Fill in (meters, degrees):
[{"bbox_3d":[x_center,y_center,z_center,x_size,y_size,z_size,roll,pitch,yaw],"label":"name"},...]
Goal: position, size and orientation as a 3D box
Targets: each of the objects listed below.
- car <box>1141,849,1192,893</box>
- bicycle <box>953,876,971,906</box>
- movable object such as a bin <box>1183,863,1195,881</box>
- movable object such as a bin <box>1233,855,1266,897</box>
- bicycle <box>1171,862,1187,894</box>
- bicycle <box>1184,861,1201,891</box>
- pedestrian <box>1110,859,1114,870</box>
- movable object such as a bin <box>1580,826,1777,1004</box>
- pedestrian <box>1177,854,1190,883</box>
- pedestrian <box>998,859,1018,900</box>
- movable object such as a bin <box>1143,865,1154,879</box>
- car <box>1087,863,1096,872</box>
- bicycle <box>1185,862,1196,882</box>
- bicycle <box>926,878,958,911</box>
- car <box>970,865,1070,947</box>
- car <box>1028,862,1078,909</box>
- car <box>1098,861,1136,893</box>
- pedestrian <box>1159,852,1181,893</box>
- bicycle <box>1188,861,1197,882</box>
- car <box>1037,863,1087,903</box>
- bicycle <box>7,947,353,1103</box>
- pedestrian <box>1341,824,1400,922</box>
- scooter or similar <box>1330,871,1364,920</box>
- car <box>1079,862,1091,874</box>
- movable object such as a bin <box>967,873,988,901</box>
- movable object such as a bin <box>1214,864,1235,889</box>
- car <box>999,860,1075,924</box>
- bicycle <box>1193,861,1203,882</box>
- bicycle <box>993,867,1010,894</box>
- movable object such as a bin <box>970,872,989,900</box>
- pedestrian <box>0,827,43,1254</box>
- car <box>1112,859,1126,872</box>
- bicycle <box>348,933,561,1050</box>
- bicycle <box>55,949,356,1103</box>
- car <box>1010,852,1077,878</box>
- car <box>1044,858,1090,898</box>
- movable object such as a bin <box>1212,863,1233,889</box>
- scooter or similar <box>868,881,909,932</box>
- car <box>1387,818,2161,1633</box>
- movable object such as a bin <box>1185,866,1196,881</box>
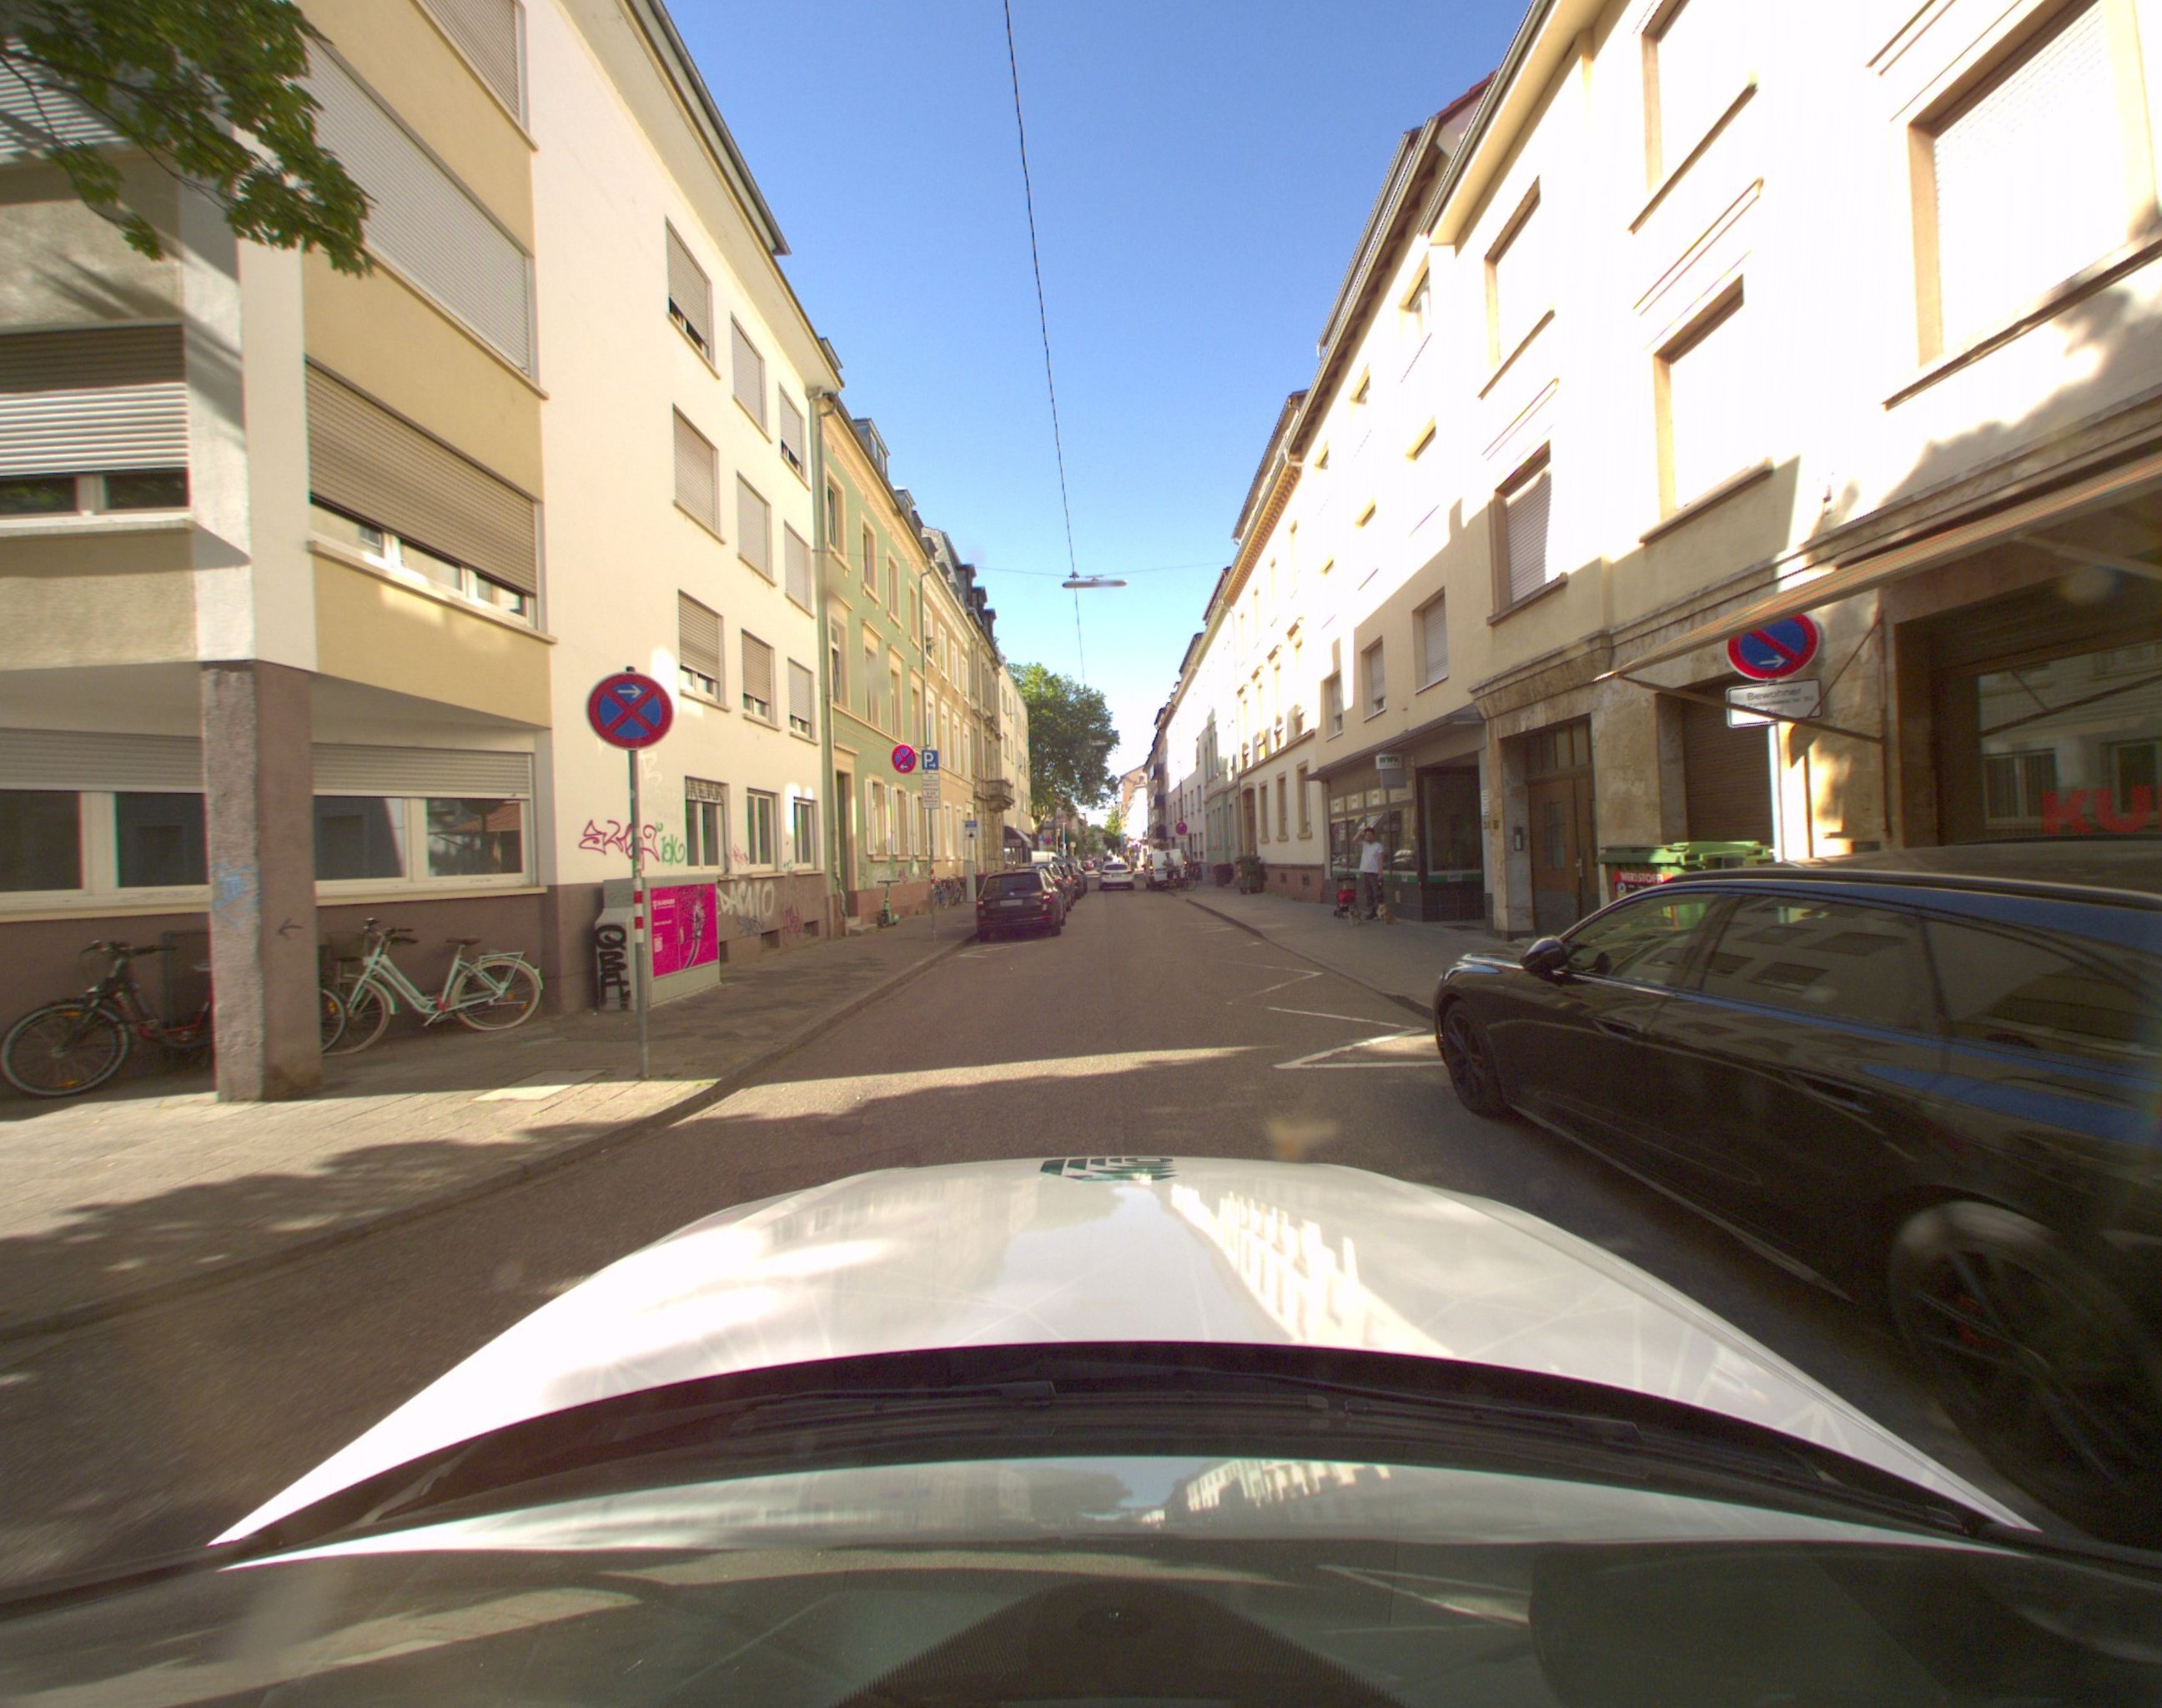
[{"bbox_3d":[4.316,0.831,41.736,1.976,1.883,5.600,-6,-1,1],"label":"car"},{"bbox_3d":[-4.469,1.386,30.615,0.401,1.056,1.835,-2,-1,-1],"label":"bicycle"},{"bbox_3d":[6.851,1.150,51.708,0.614,1.062,0.603,-4,-1,1],"label":"movable object such as a bin"},{"bbox_3d":[6.047,0.799,29.320,0.834,1.389,1.297,-5,-3,0],"label":"movable object such as a bin"},{"bbox_3d":[4.287,1.027,35.769,0.572,1.321,2.202,-3,-1,5],"label":"bicycle"},{"bbox_3d":[4.944,0.954,36.081,0.572,1.271,2.202,-4,-1,5],"label":"bicycle"},{"bbox_3d":[5.897,2.023,154.458,0.768,2.118,0.835,-2,-2,2],"label":"pedestrian"},{"bbox_3d":[5.426,0.516,7.512,0.743,1.436,1.373,-5,-1,3],"label":"movable object such as a bin"},{"bbox_3d":[6.144,0.851,48.810,0.650,1.711,0.688,-3,-2,12],"label":"pedestrian"},{"bbox_3d":[-3.184,1.101,35.584,0.762,1.714,0.883,-1,0,1],"label":"pedestrian"},{"bbox_3d":[5.100,1.369,61.672,0.729,1.081,0.704,-2,-2,2],"label":"movable object such as a bin"},{"bbox_3d":[1.966,2.548,153.529,1.566,1.585,3.612,-2,-1,2],"label":"car"},{"bbox_3d":[6.718,1.088,49.833,0.566,1.153,1.871,-2,-1,6],"label":"bicycle"},{"bbox_3d":[-4.626,1.333,27.267,0.358,1.028,1.923,-3,-1,11],"label":"bicycle"},{"bbox_3d":[-1.240,1.058,18.547,1.708,1.488,4.852,-5,-1,1],"label":"car"},{"bbox_3d":[-0.992,1.102,30.203,1.610,1.554,3.978,-2,-1,1],"label":"car"},{"bbox_3d":[1.844,1.165,42.663,1.817,1.514,3.824,-2,-1,1],"label":"car"},{"bbox_3d":[4.151,0.874,38.109,0.863,1.836,0.883,-2,-2,0],"label":"pedestrian"},{"bbox_3d":[6.698,1.055,48.744,0.435,1.206,2.271,-2,-1,8],"label":"bicycle"},{"bbox_3d":[-0.750,1.179,34.967,1.706,1.531,4.370,-3,-1,3],"label":"car"},{"bbox_3d":[-7.354,1.345,6.778,0.378,0.913,1.875,-4,-1,42],"label":"bicycle"},{"bbox_3d":[5.732,0.374,16.169,0.650,1.860,0.743,-4,0,-20],"label":"pedestrian"},{"bbox_3d":[5.587,0.856,17.130,0.488,0.944,0.870,-4,0,8],"label":"scooter or similar"},{"bbox_3d":[0.641,2.070,121.323,1.763,1.589,3.726,-2,0,1],"label":"car"},{"bbox_3d":[-4.305,1.377,33.943,0.733,1.089,0.682,-2,1,-2],"label":"movable object such as a bin"},{"bbox_3d":[6.309,0.990,35.910,0.793,1.096,0.642,-2,-2,3],"label":"movable object such as a bin"},{"bbox_3d":[-1.210,1.039,24.409,1.737,1.615,4.605,-3,0,2],"label":"car"},{"bbox_3d":[6.778,1.021,47.407,0.403,1.206,2.162,-2,-1,5],"label":"bicycle"},{"bbox_3d":[-3.955,1.301,40.559,0.508,1.277,1.868,-2,-1,3],"label":"bicycle"},{"bbox_3d":[-4.306,1.359,34.564,0.717,1.132,0.584,-2,-2,-3],"label":"movable object such as a bin"},{"bbox_3d":[-5.134,0.828,2.999,0.907,1.832,1.246,-2,1,1],"label":"pedestrian"},{"bbox_3d":[5.778,1.759,124.458,1.937,1.948,4.076,-1,-1,-1],"label":"car"},{"bbox_3d":[-6.027,1.283,7.910,0.426,0.882,1.579,-1,0,41],"label":"bicycle"},{"bbox_3d":[-6.977,1.325,6.587,0.399,0.897,1.595,-4,0,42],"label":"bicycle"},{"bbox_3d":[-3.834,1.156,84.638,6.711,2.555,2.147,1,-1,3],"label":"car"},{"bbox_3d":[-0.633,1.143,40.487,1.929,1.736,5.143,-3,-1,2],"label":"car"},{"bbox_3d":[6.351,0.985,36.581,0.809,1.088,0.674,-2,-2,3],"label":"movable object such as a bin"},{"bbox_3d":[-4.777,1.278,20.273,0.452,1.182,1.693,-2,-1,4],"label":"scooter or similar"},{"bbox_3d":[3.026,0.719,3.338,1.794,1.579,4.898,-1,-1,2],"label":"car"},{"bbox_3d":[6.860,1.211,51.097,0.575,0.924,0.608,-5,-1,1],"label":"movable object such as a bin"}]
